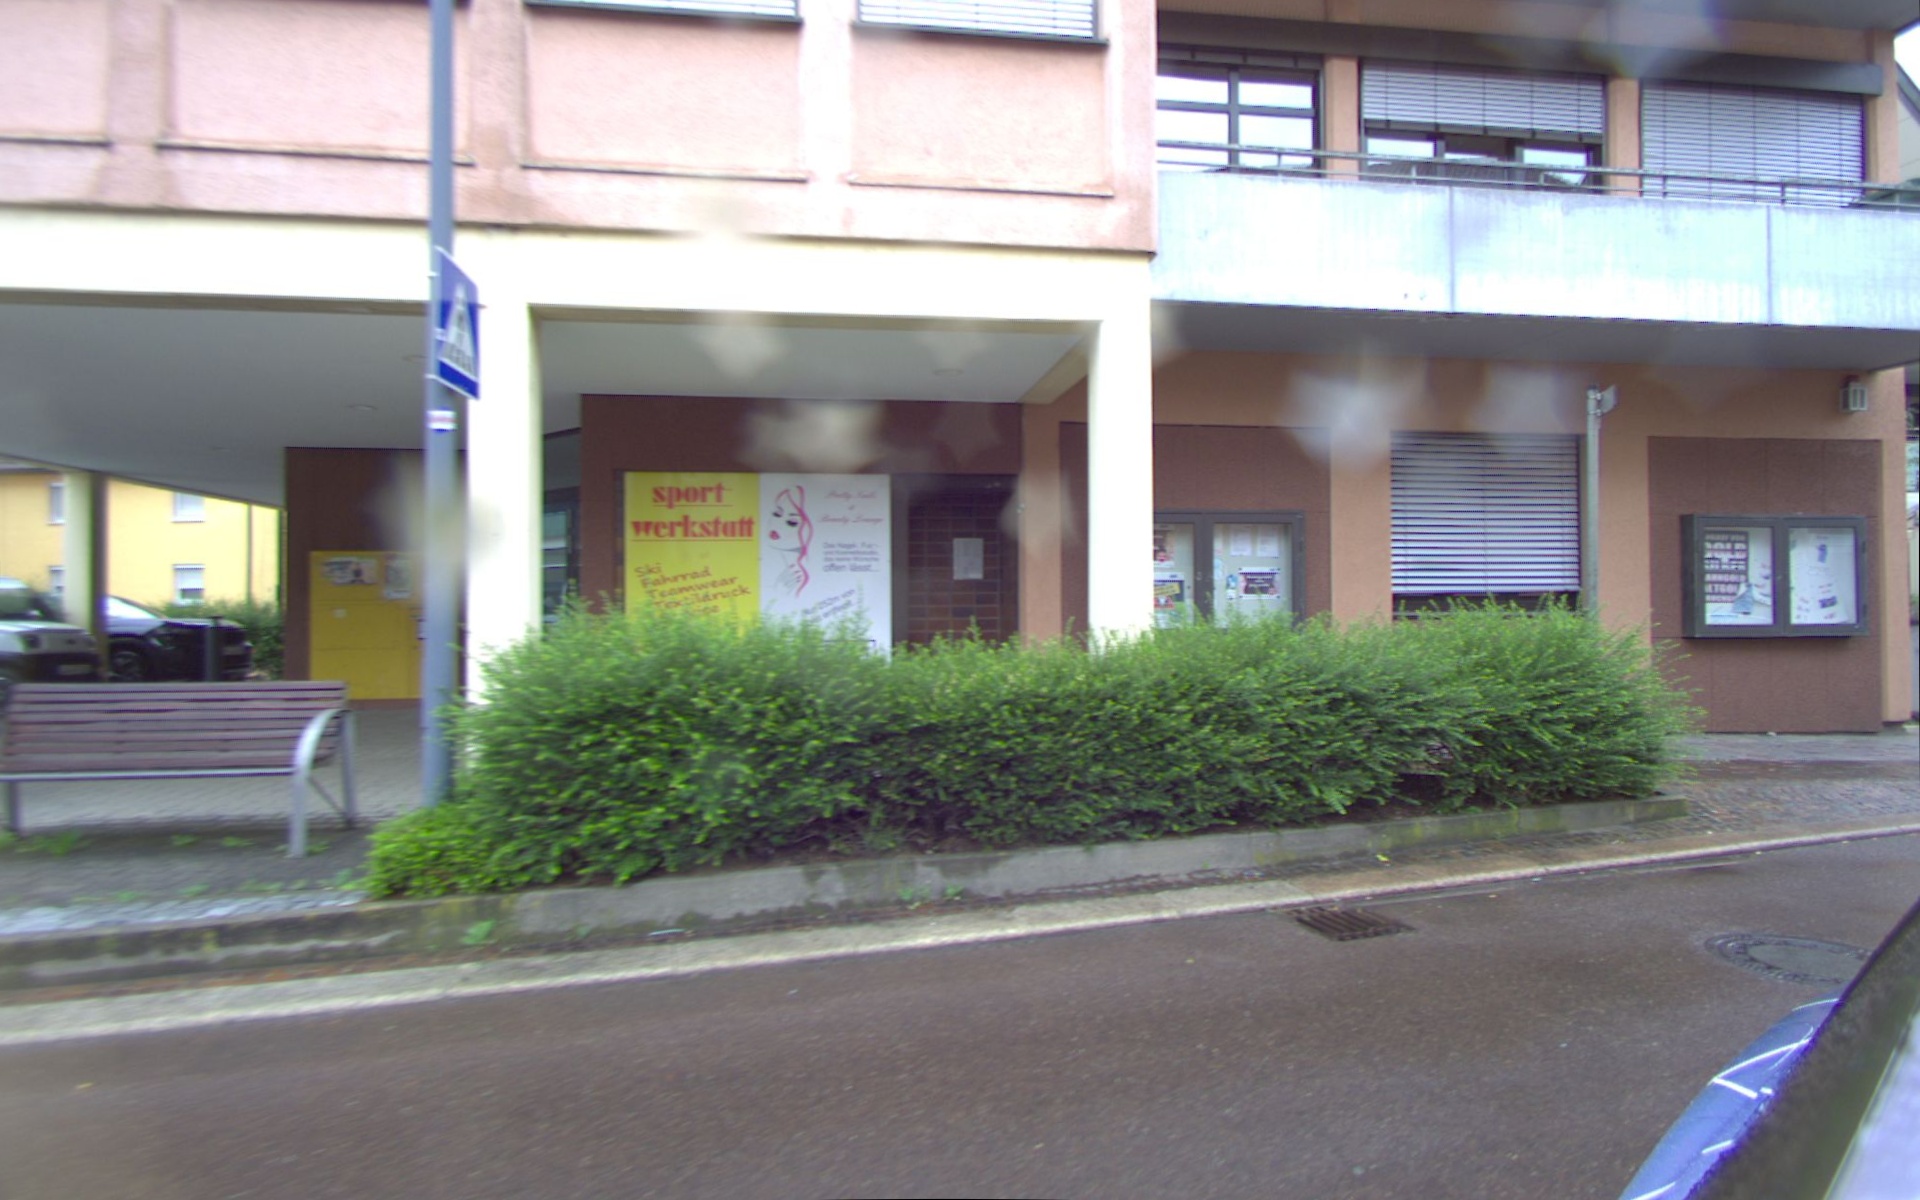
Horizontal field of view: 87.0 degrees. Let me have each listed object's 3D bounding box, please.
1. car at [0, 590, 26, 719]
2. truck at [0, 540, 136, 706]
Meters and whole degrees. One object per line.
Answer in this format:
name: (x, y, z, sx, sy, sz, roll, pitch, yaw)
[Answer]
car: (-11.752, 0.571, 9.370, 4.381, 1.292, 1.770, -1, 0, -6)
truck: (-12.355, 0.267, 11.809, 3.919, 1.831, 1.771, -1, 0, -7)
